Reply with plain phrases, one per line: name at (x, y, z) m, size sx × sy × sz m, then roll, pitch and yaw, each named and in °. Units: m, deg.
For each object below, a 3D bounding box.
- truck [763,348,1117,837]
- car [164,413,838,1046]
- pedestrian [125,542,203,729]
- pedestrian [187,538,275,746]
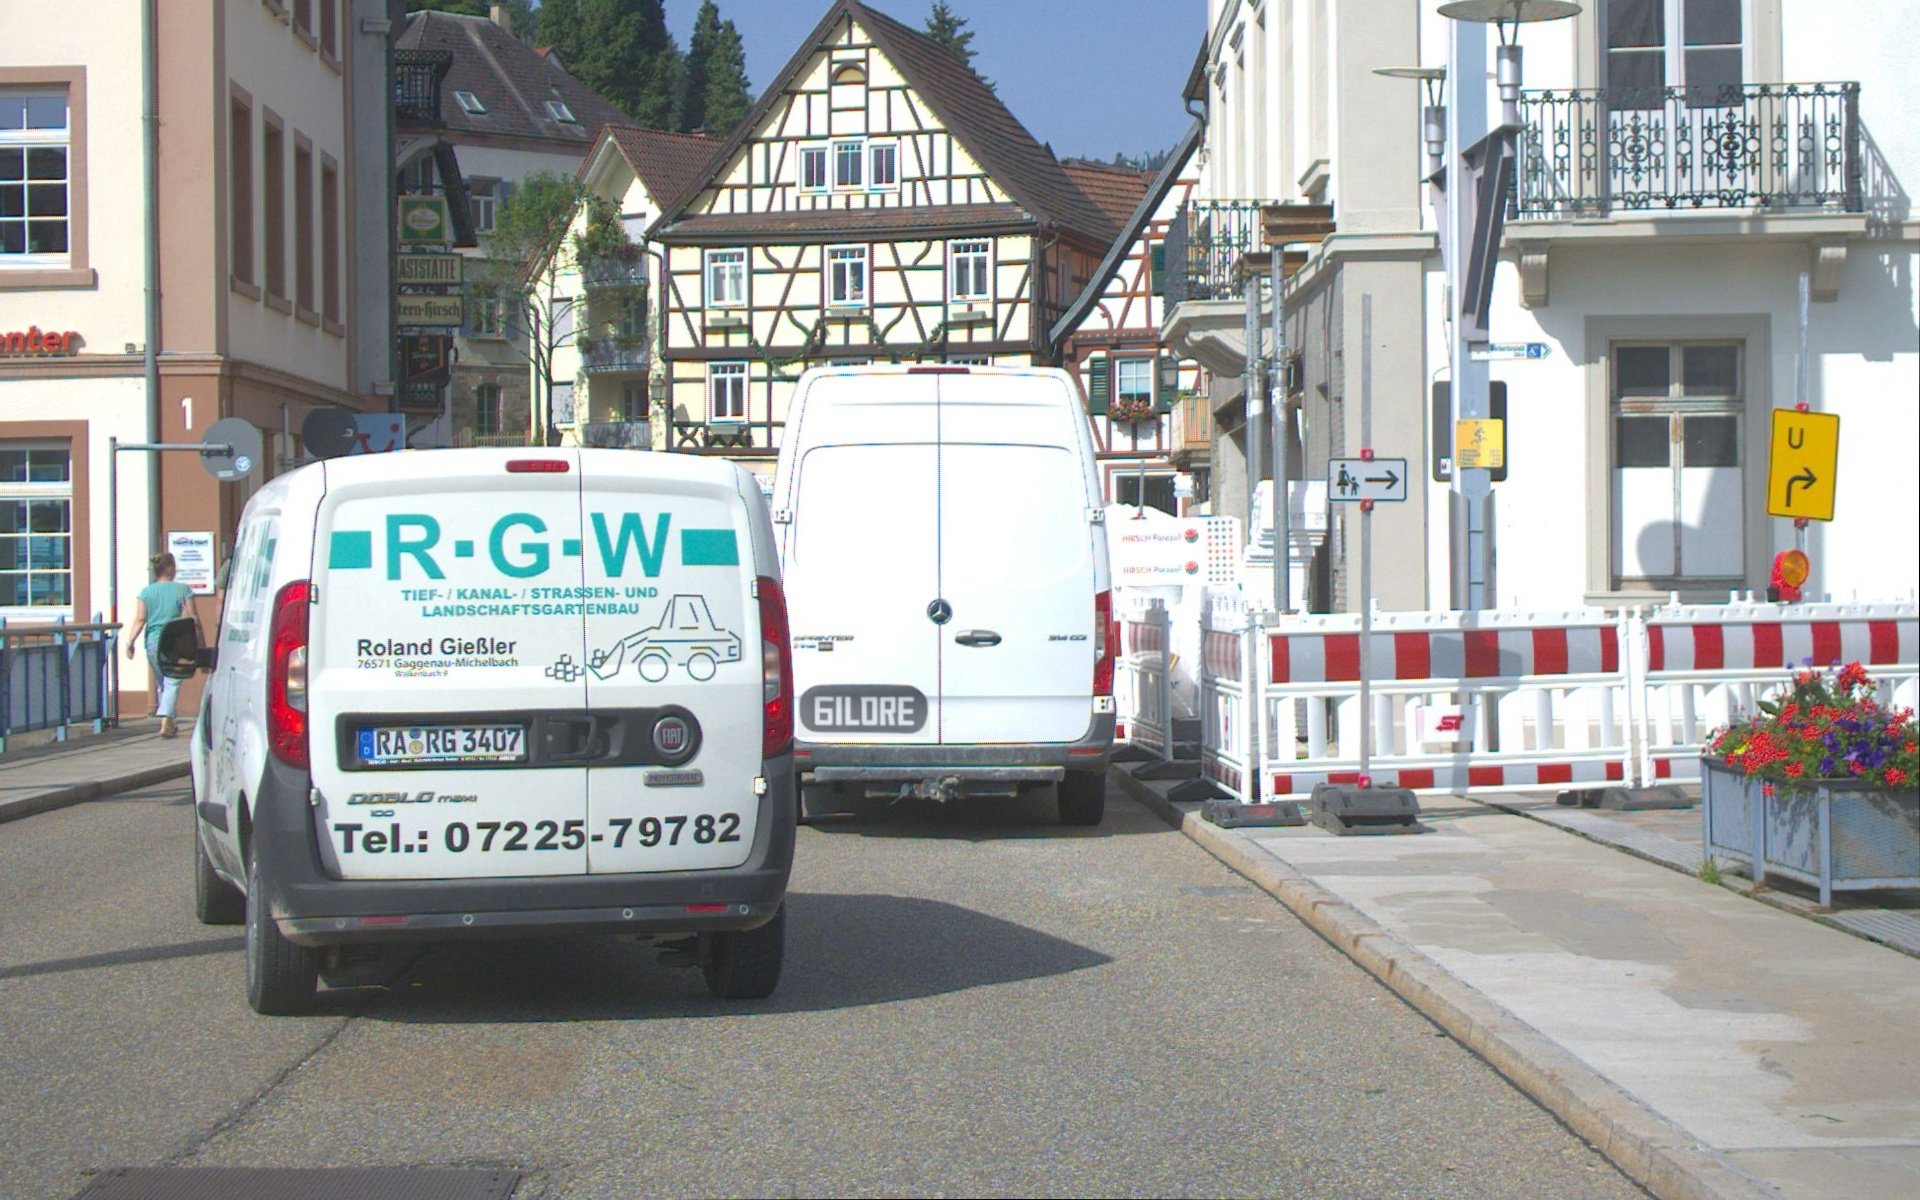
truck at (-0.188, -0.070, 20.293) m, size 1.861 × 2.576 × 4.261 m, roll 0°, pitch 1°, yaw -2°
car at (-1.866, 0.359, 12.643) m, size 1.844 × 1.899 × 4.316 m, roll 0°, pitch 1°, yaw -16°
pedestrian at (-6.918, 0.302, 29.885) m, size 0.583 × 1.604 × 0.537 m, roll 0°, pitch 1°, yaw -4°
pedestrian at (-6.281, 0.348, 29.651) m, size 0.614 × 1.756 × 0.864 m, roll 0°, pitch 1°, yaw -3°
